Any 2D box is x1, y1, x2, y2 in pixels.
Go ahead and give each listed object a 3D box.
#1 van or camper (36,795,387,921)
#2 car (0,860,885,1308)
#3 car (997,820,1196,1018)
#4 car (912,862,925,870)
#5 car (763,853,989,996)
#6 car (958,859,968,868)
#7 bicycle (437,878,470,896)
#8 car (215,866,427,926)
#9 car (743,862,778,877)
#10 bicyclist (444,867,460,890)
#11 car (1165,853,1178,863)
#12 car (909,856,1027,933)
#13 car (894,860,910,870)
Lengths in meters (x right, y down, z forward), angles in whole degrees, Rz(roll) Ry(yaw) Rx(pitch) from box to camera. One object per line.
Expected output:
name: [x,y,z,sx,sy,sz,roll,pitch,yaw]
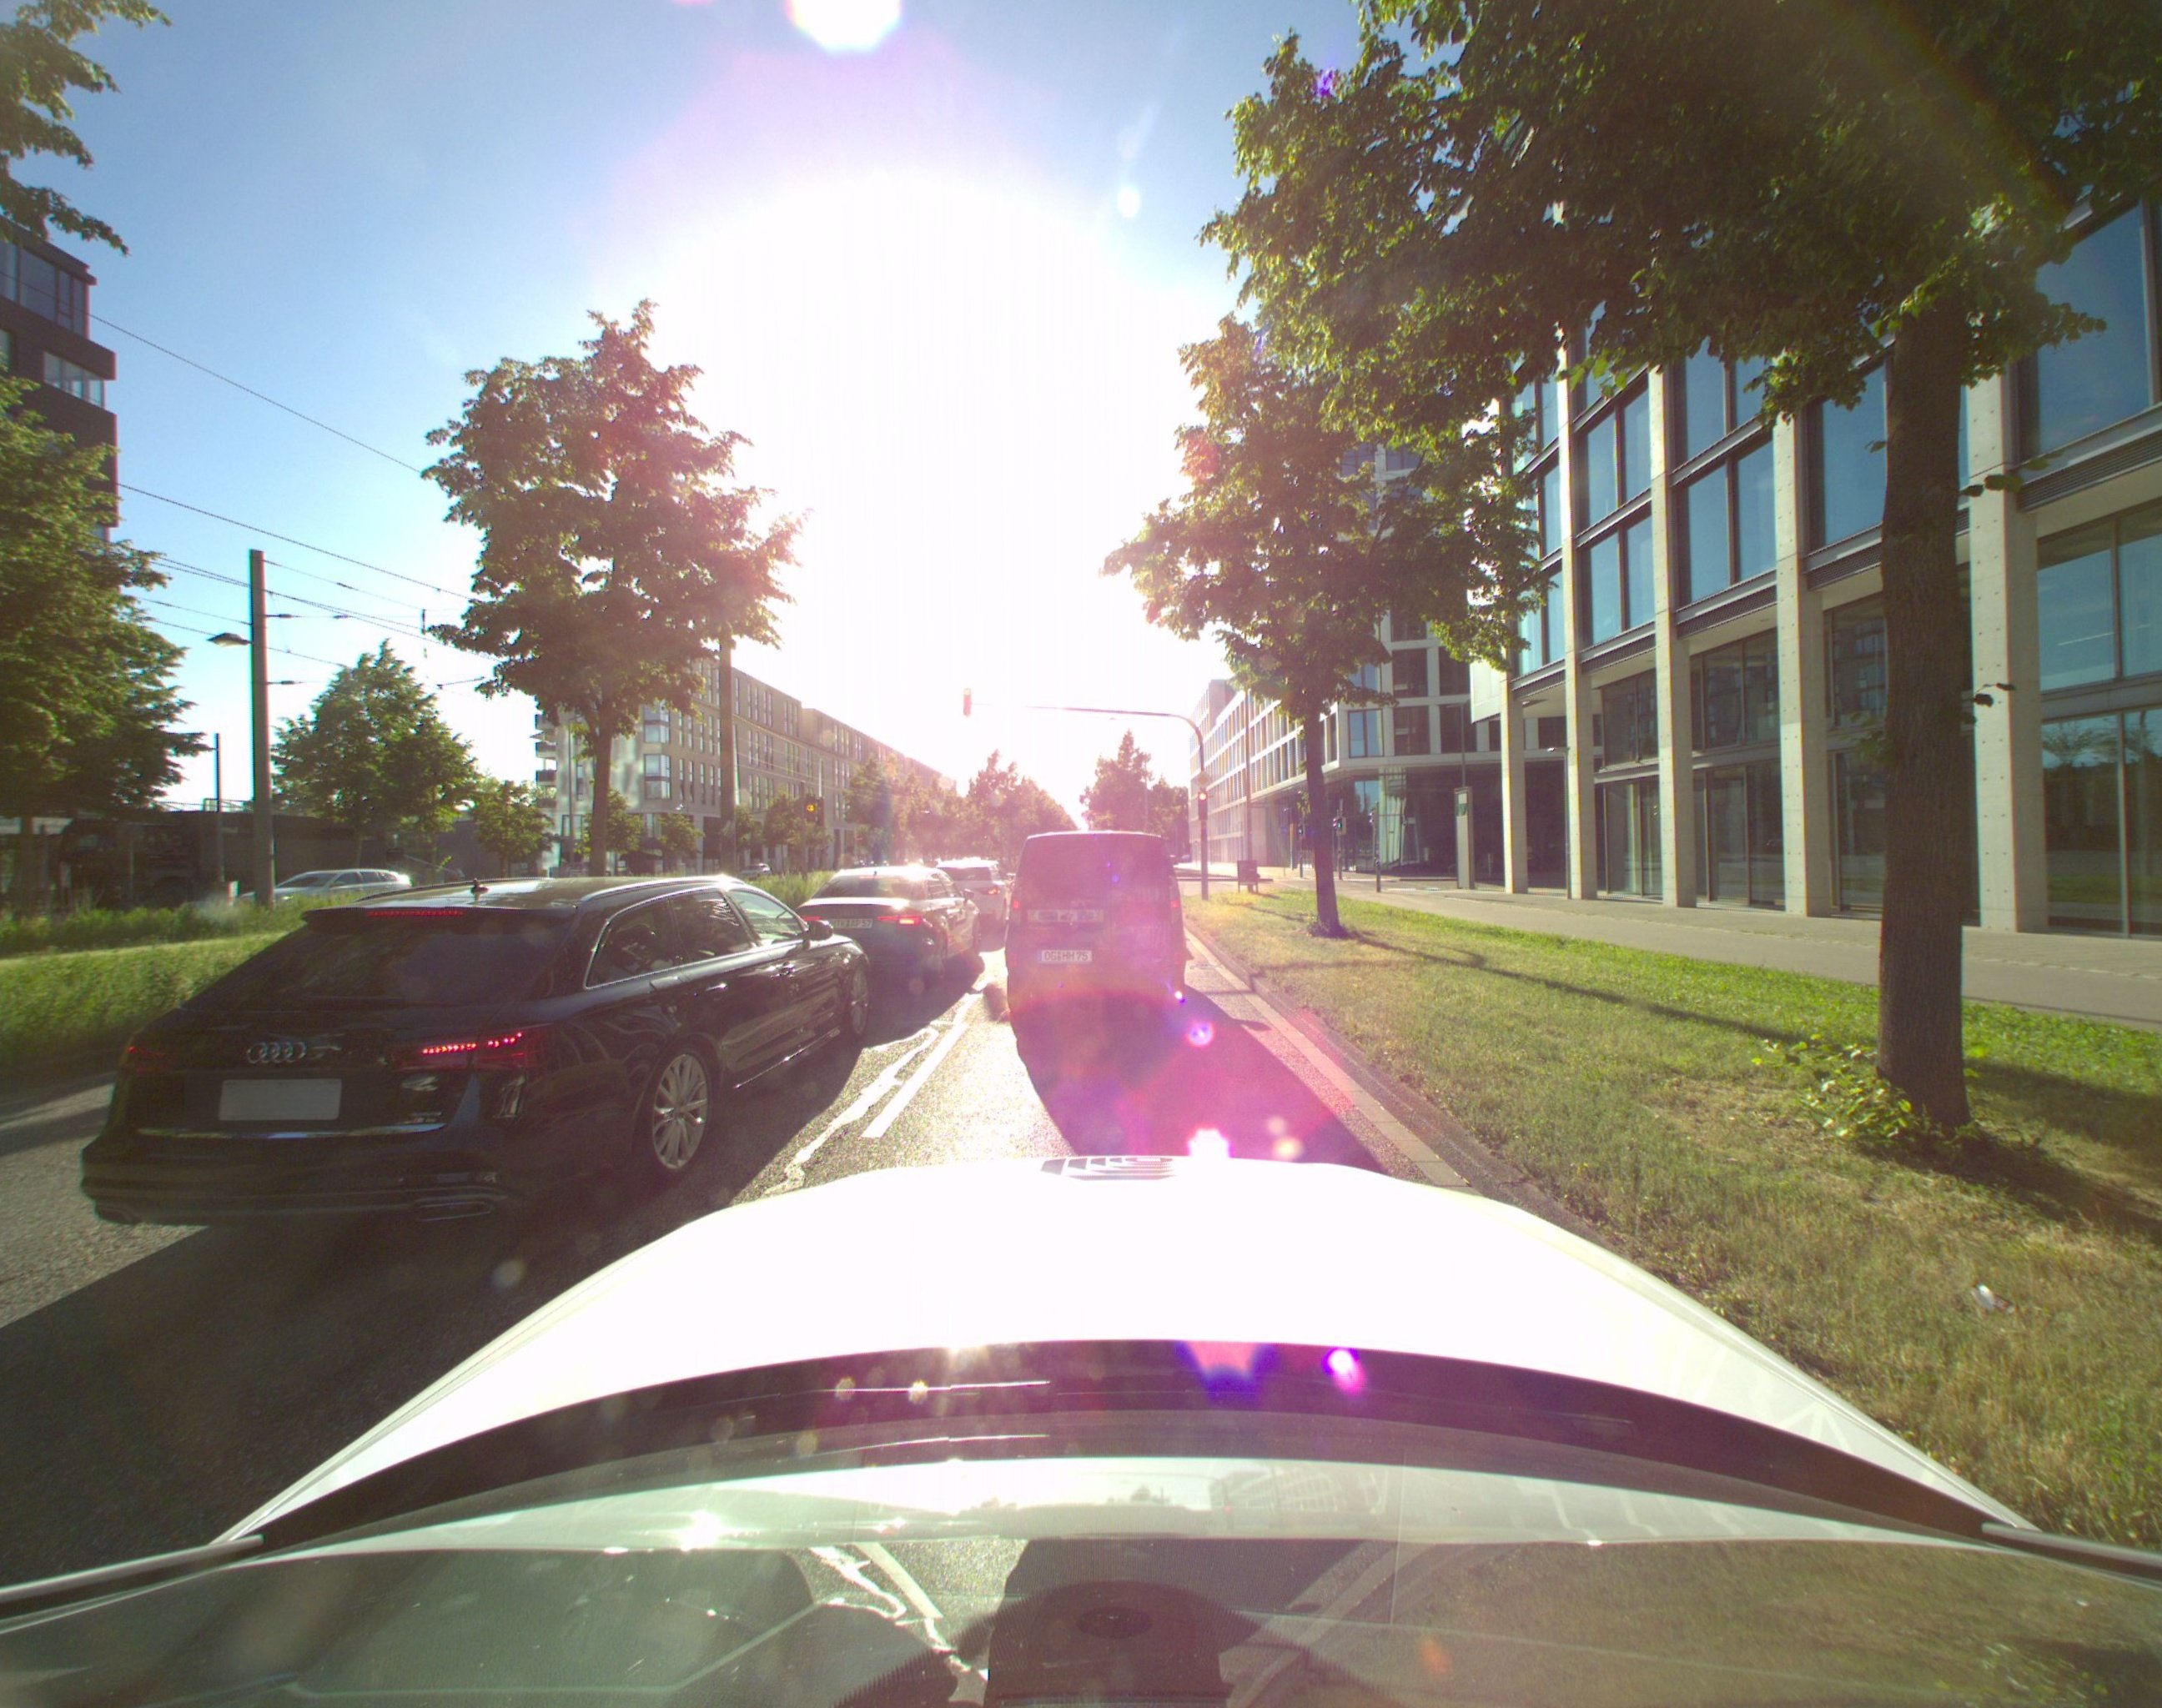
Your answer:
van or camper: [-33.615,0.161,32.518,2.743,4.192,10.234,-1,0,2]
car: [-2.727,0.804,5.031,1.801,1.457,4.509,-1,0,2]
car: [0.236,0.603,9.572,1.801,1.794,4.115,-1,0,2]
car: [-29.875,2.151,150.076,1.574,1.342,3.713,-1,0,1]
car: [-2.481,0.775,10.977,1.801,1.527,4.115,-1,0,2]
car: [-28.573,2.226,197.674,1.723,2.013,3.999,-1,0,-1]
bicycle: [-38.263,2.027,49.672,0.525,1.034,1.848,0,-1,2]
car: [-22.639,1.178,24.584,1.847,1.537,4.737,-1,0,1]
car: [-31.558,1.538,80.204,1.574,1.342,4.473,-1,0,1]
bicyclist: [-38.268,1.476,49.573,0.490,1.406,0.626,0,-1,1]
car: [14.210,0.602,127.737,1.750,1.611,3.906,-1,0,3]
car: [-2.307,0.777,17.688,1.801,1.434,4.115,-1,0,2]
car: [-29.554,1.777,134.459,1.769,1.528,3.807,-1,0,1]
